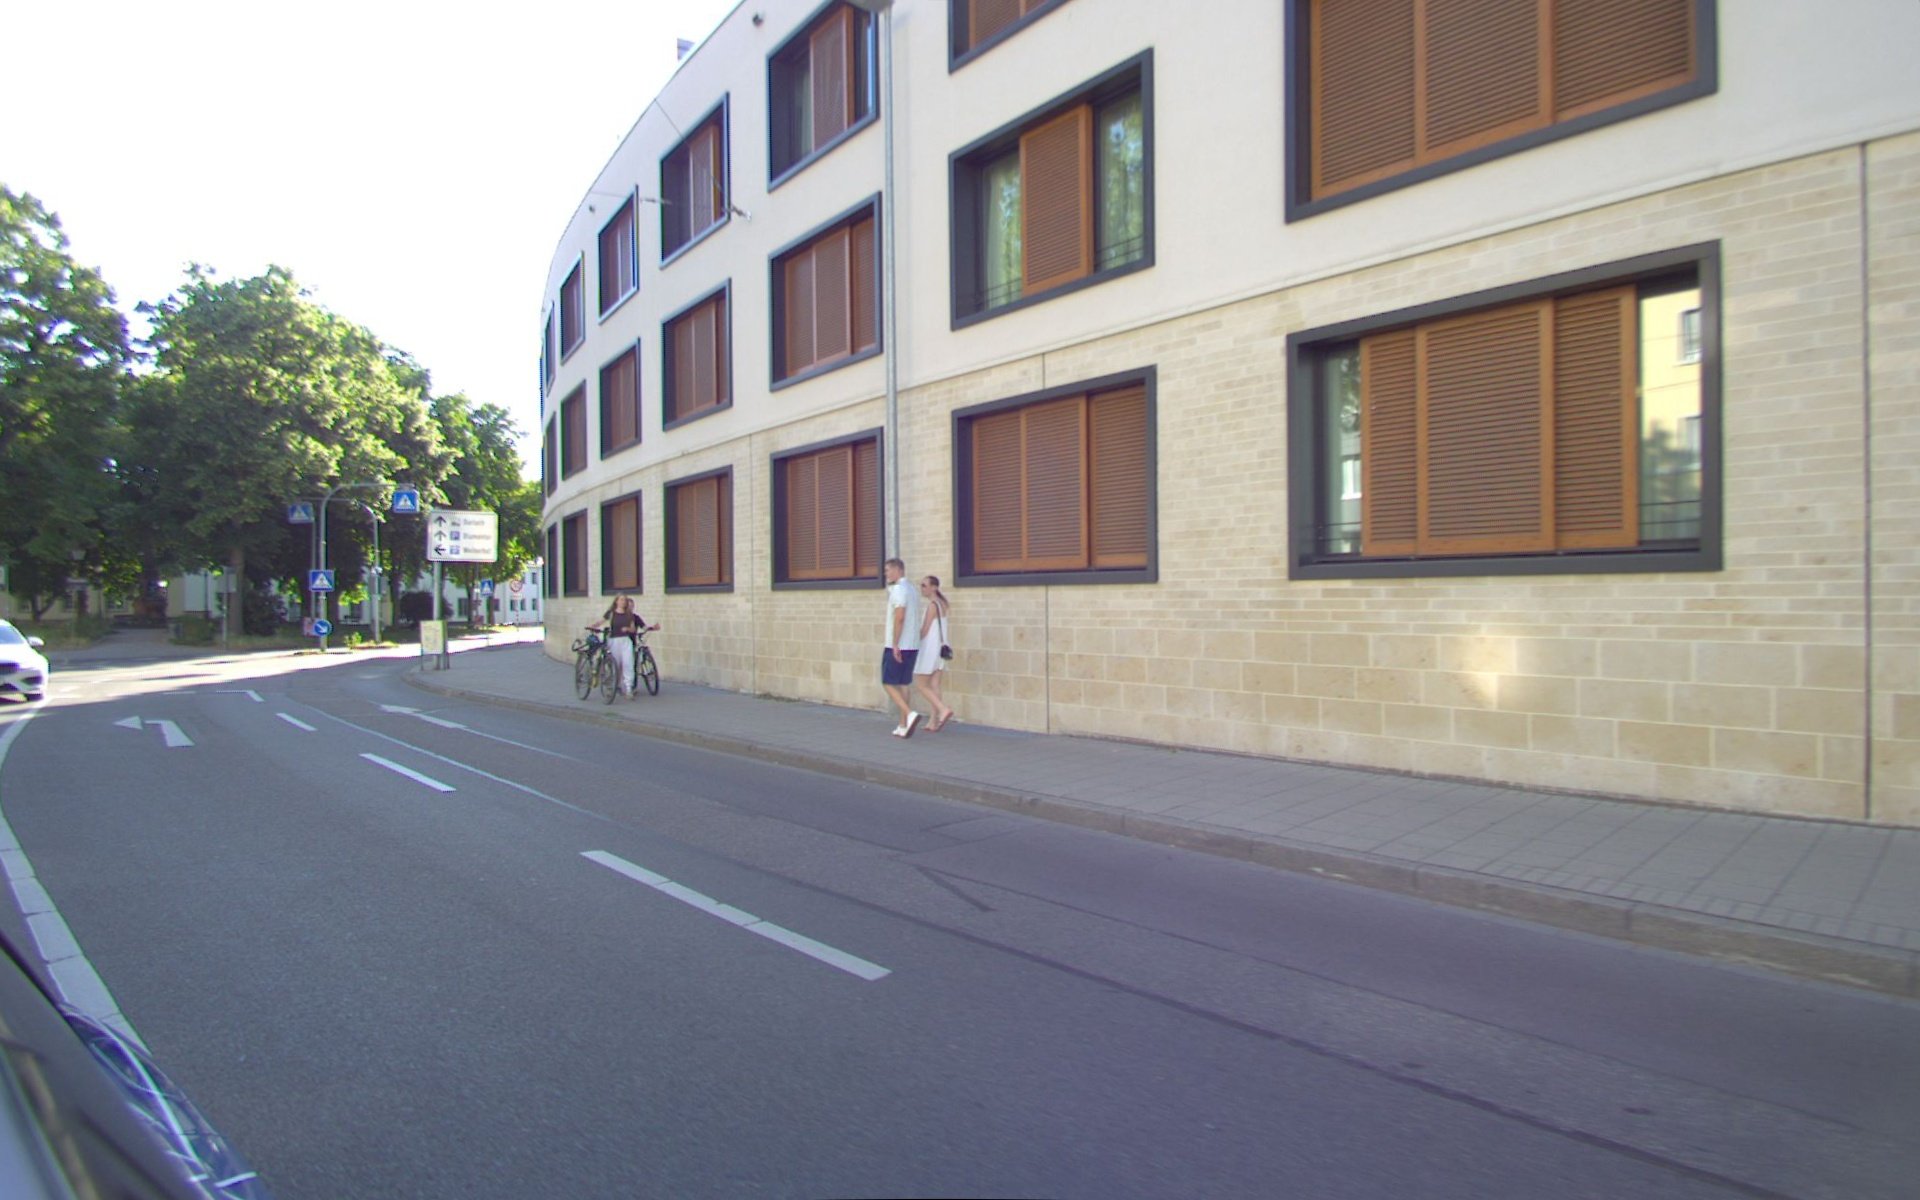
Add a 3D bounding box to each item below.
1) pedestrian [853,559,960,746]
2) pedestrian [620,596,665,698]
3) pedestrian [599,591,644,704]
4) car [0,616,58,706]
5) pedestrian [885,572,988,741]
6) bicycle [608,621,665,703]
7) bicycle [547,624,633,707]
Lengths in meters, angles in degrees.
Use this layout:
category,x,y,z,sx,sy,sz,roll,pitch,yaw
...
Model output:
category,x,y,z,sx,sy,sz,roll,pitch,yaw
pedestrian,-0.569,0.516,10.613,0.598,1.863,0.993,-2,1,-44
pedestrian,-5.111,0.740,16.287,0.467,1.576,0.604,-3,1,-32
pedestrian,-5.185,0.714,15.491,0.467,1.660,0.604,-2,0,-32
car,-17.772,1.073,18.019,4.767,1.475,1.830,-2,-1,39
pedestrian,-0.253,0.578,10.905,0.694,1.727,0.843,-2,1,-44
bicycle,-5.062,0.933,15.774,0.370,1.176,1.842,-2,0,-32
bicycle,-5.657,0.977,15.415,0.435,1.187,1.968,-1,-1,-44
